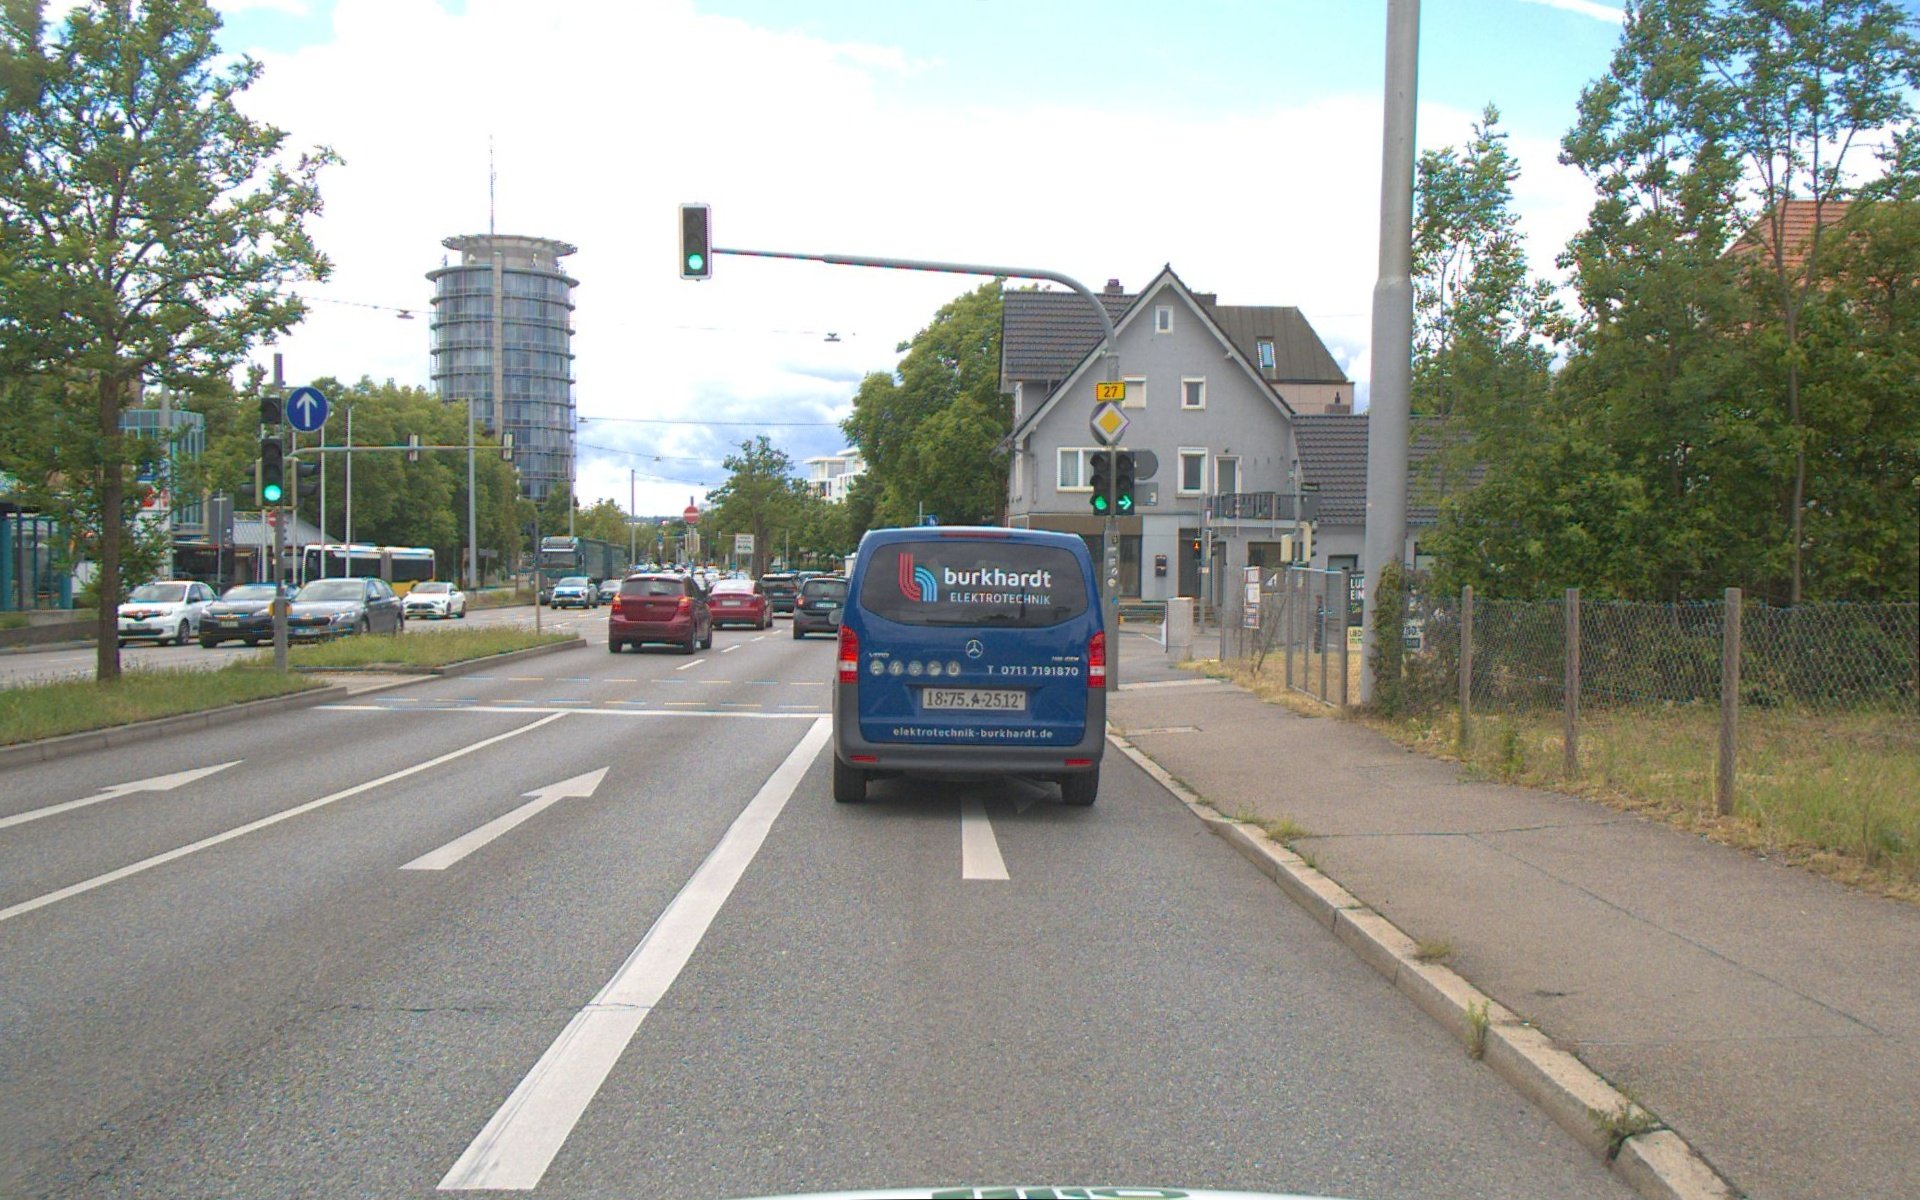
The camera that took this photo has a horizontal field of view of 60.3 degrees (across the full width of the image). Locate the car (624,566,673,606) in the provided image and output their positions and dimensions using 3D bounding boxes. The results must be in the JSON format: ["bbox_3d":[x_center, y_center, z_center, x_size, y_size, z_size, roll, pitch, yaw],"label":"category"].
[{"bbox_3d":[-16.520,-0.746,87.840,1.953,2.049,4.178,0,1,-2],"label":"car"}]

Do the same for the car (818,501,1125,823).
[{"bbox_3d":[0.024,0.373,12.690,1.908,2.000,4.540,1,0,-1],"label":"car"}]

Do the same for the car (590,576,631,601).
[{"bbox_3d":[-20.312,-0.687,96.241,1.761,1.442,3.998,-1,1,-3],"label":"car"}]

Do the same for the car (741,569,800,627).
[{"bbox_3d":[-7.238,-0.120,62.906,1.957,2.048,3.991,1,1,-10],"label":"car"}]

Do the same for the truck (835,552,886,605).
[{"bbox_3d":[-4.371,-0.946,73.351,1.953,2.203,5.558,2,1,-1],"label":"truck"}]

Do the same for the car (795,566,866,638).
[{"bbox_3d":[-3.281,0.019,42.160,1.712,1.753,3.997,0,1,-4],"label":"car"}]

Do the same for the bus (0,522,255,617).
[{"bbox_3d":[-30.927,-1.080,62.313,2.895,3.188,12.165,1,0,3],"label":"bus"}]

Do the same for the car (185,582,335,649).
[{"bbox_3d":[-16.318,0.315,38.855,1.778,1.422,5.005,-2,1,-5],"label":"car"}]

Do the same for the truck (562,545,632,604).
[{"bbox_3d":[-24.309,-1.669,111.198,3.301,3.792,8.022,0,0,-3],"label":"truck"}]

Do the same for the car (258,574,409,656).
[{"bbox_3d":[-13.039,0.266,34.719,1.956,1.601,4.509,0,1,-8],"label":"car"}]

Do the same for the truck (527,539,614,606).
[{"bbox_3d":[-23.515,-1.595,100.465,3.302,3.792,11.271,1,0,-4],"label":"truck"}]

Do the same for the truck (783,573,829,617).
[{"bbox_3d":[-8.225,-0.276,88.812,1.953,2.203,5.558,2,1,-1],"label":"truck"}]

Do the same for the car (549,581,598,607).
[{"bbox_3d":[-19.626,-0.312,84.066,1.793,1.284,3.997,-1,1,-4],"label":"car"}]

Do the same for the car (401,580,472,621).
[{"bbox_3d":[-21.115,0.002,66.834,1.698,1.601,4.503,0,1,-4],"label":"car"}]

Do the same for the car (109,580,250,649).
[{"bbox_3d":[-19.105,0.307,40.652,1.591,1.601,4.000,0,1,-1],"label":"car"}]

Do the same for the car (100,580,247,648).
[{"bbox_3d":[-19.176,0.302,40.518,1.712,1.544,3.999,2,1,-1],"label":"car"}]

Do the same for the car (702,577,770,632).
[{"bbox_3d":[-6.704,0.161,49.211,1.834,1.512,3.990,-1,-1,-10],"label":"car"}]

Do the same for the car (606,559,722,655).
[{"bbox_3d":[-5.891,0.107,33.341,1.711,1.753,3.998,3,1,-3],"label":"car"}]
